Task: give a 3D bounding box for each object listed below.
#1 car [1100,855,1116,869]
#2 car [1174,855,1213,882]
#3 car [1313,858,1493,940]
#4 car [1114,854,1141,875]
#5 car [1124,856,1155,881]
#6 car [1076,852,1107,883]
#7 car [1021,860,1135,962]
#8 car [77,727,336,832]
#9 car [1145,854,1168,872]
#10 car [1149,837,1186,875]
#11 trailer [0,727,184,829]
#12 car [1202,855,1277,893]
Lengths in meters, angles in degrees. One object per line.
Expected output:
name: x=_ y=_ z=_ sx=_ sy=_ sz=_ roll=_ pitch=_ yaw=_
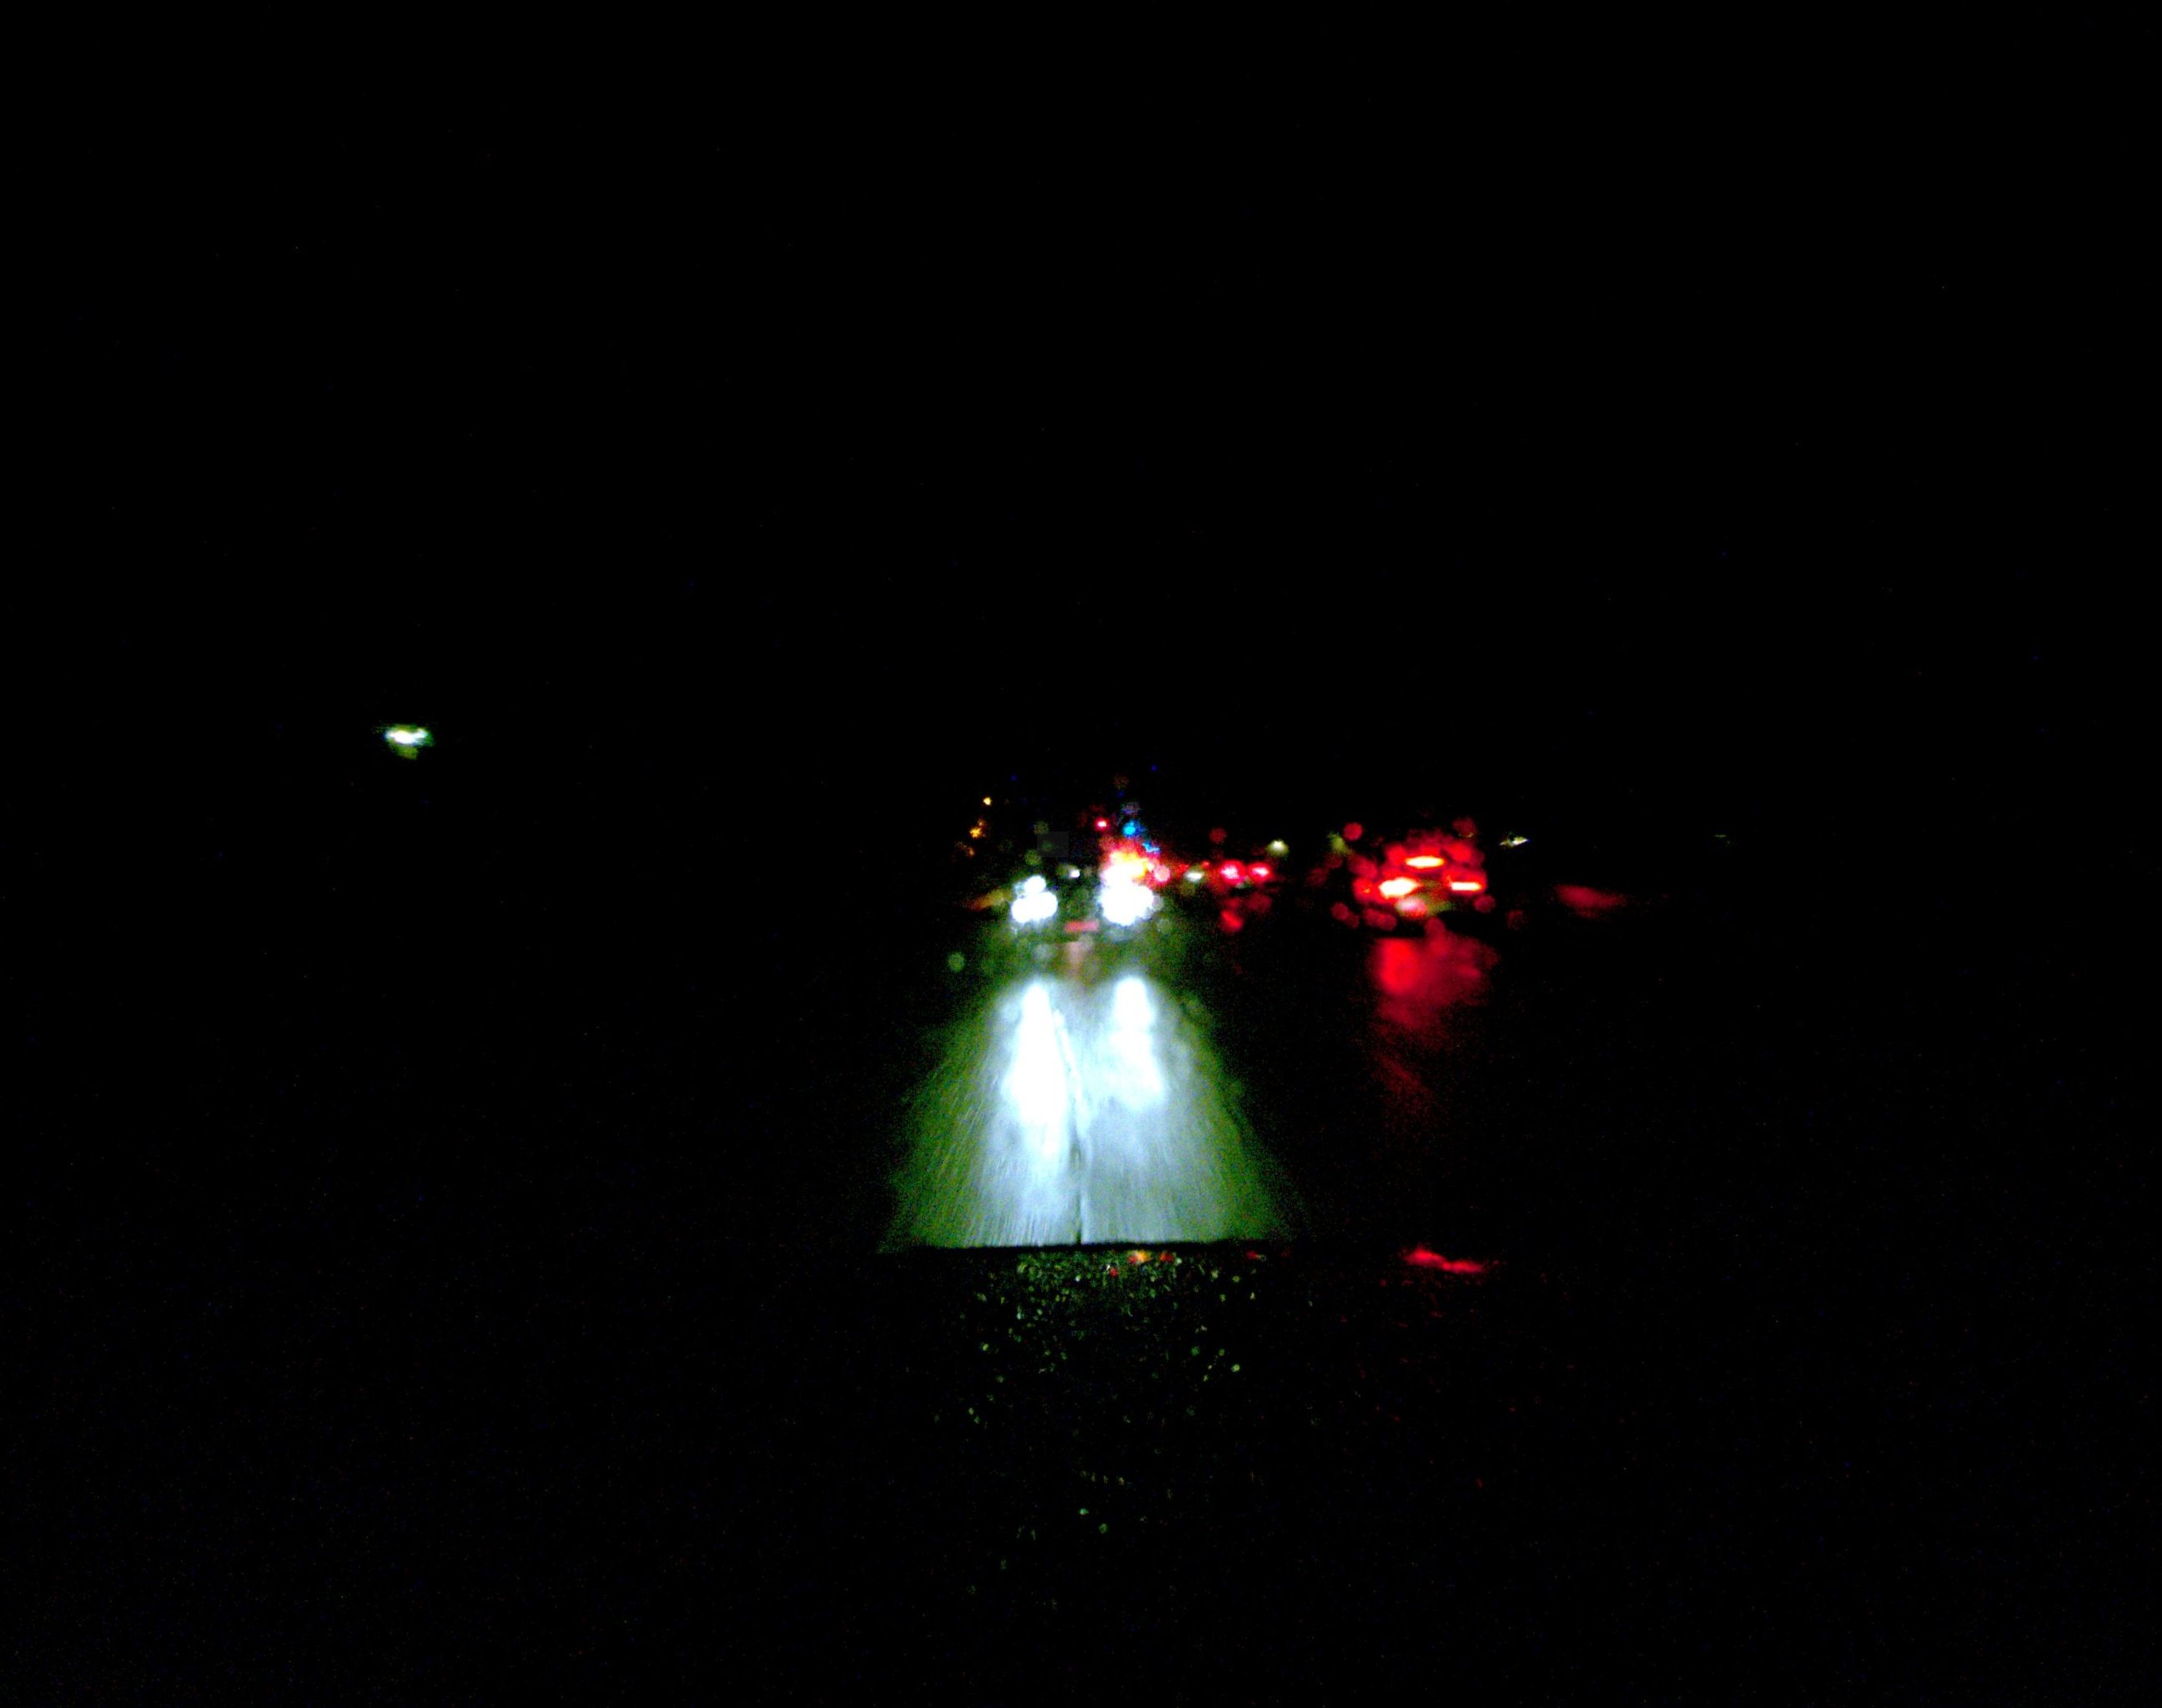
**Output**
car: x=2.943 y=0.882 z=83.038 sx=1.626 sy=1.464 sz=3.885 roll=-2 pitch=0 yaw=0
car: x=6.836 y=0.829 z=46.648 sx=1.883 sy=1.528 sz=3.988 roll=-2 pitch=0 yaw=2
car: x=6.648 y=0.842 z=16.320 sx=1.923 sy=1.435 sz=4.545 roll=-2 pitch=0 yaw=0
car: x=3.717 y=0.816 z=61.176 sx=1.848 sy=1.565 sz=4.597 roll=-2 pitch=0 yaw=0
car: x=4.068 y=0.985 z=53.228 sx=1.809 sy=1.620 sz=4.416 roll=-2 pitch=0 yaw=0
car: x=0.715 y=0.834 z=48.844 sx=1.759 sy=1.807 sz=4.711 roll=-3 pitch=0 yaw=2
car: x=0.103 y=0.940 z=14.619 sx=1.809 sy=1.590 sz=4.788 roll=-1 pitch=0 yaw=4
car: x=-25.909 y=-2.059 z=22.940 sx=2.121 sy=2.620 sz=5.445 roll=-1 pitch=0 yaw=-10
car: x=6.972 y=0.817 z=70.466 sx=1.724 sy=1.579 sz=4.312 roll=-2 pitch=0 yaw=0
car: x=6.612 y=0.153 z=58.779 sx=2.128 sy=2.692 sz=6.240 roll=-2 pitch=0 yaw=0
trailer: x=-24.832 y=-1.721 z=17.488 sx=2.233 sy=2.060 sz=5.715 roll=-1 pitch=0 yaw=-10
car: x=6.682 y=0.808 z=32.649 sx=2.082 sy=1.441 sz=4.991 roll=-2 pitch=0 yaw=0
